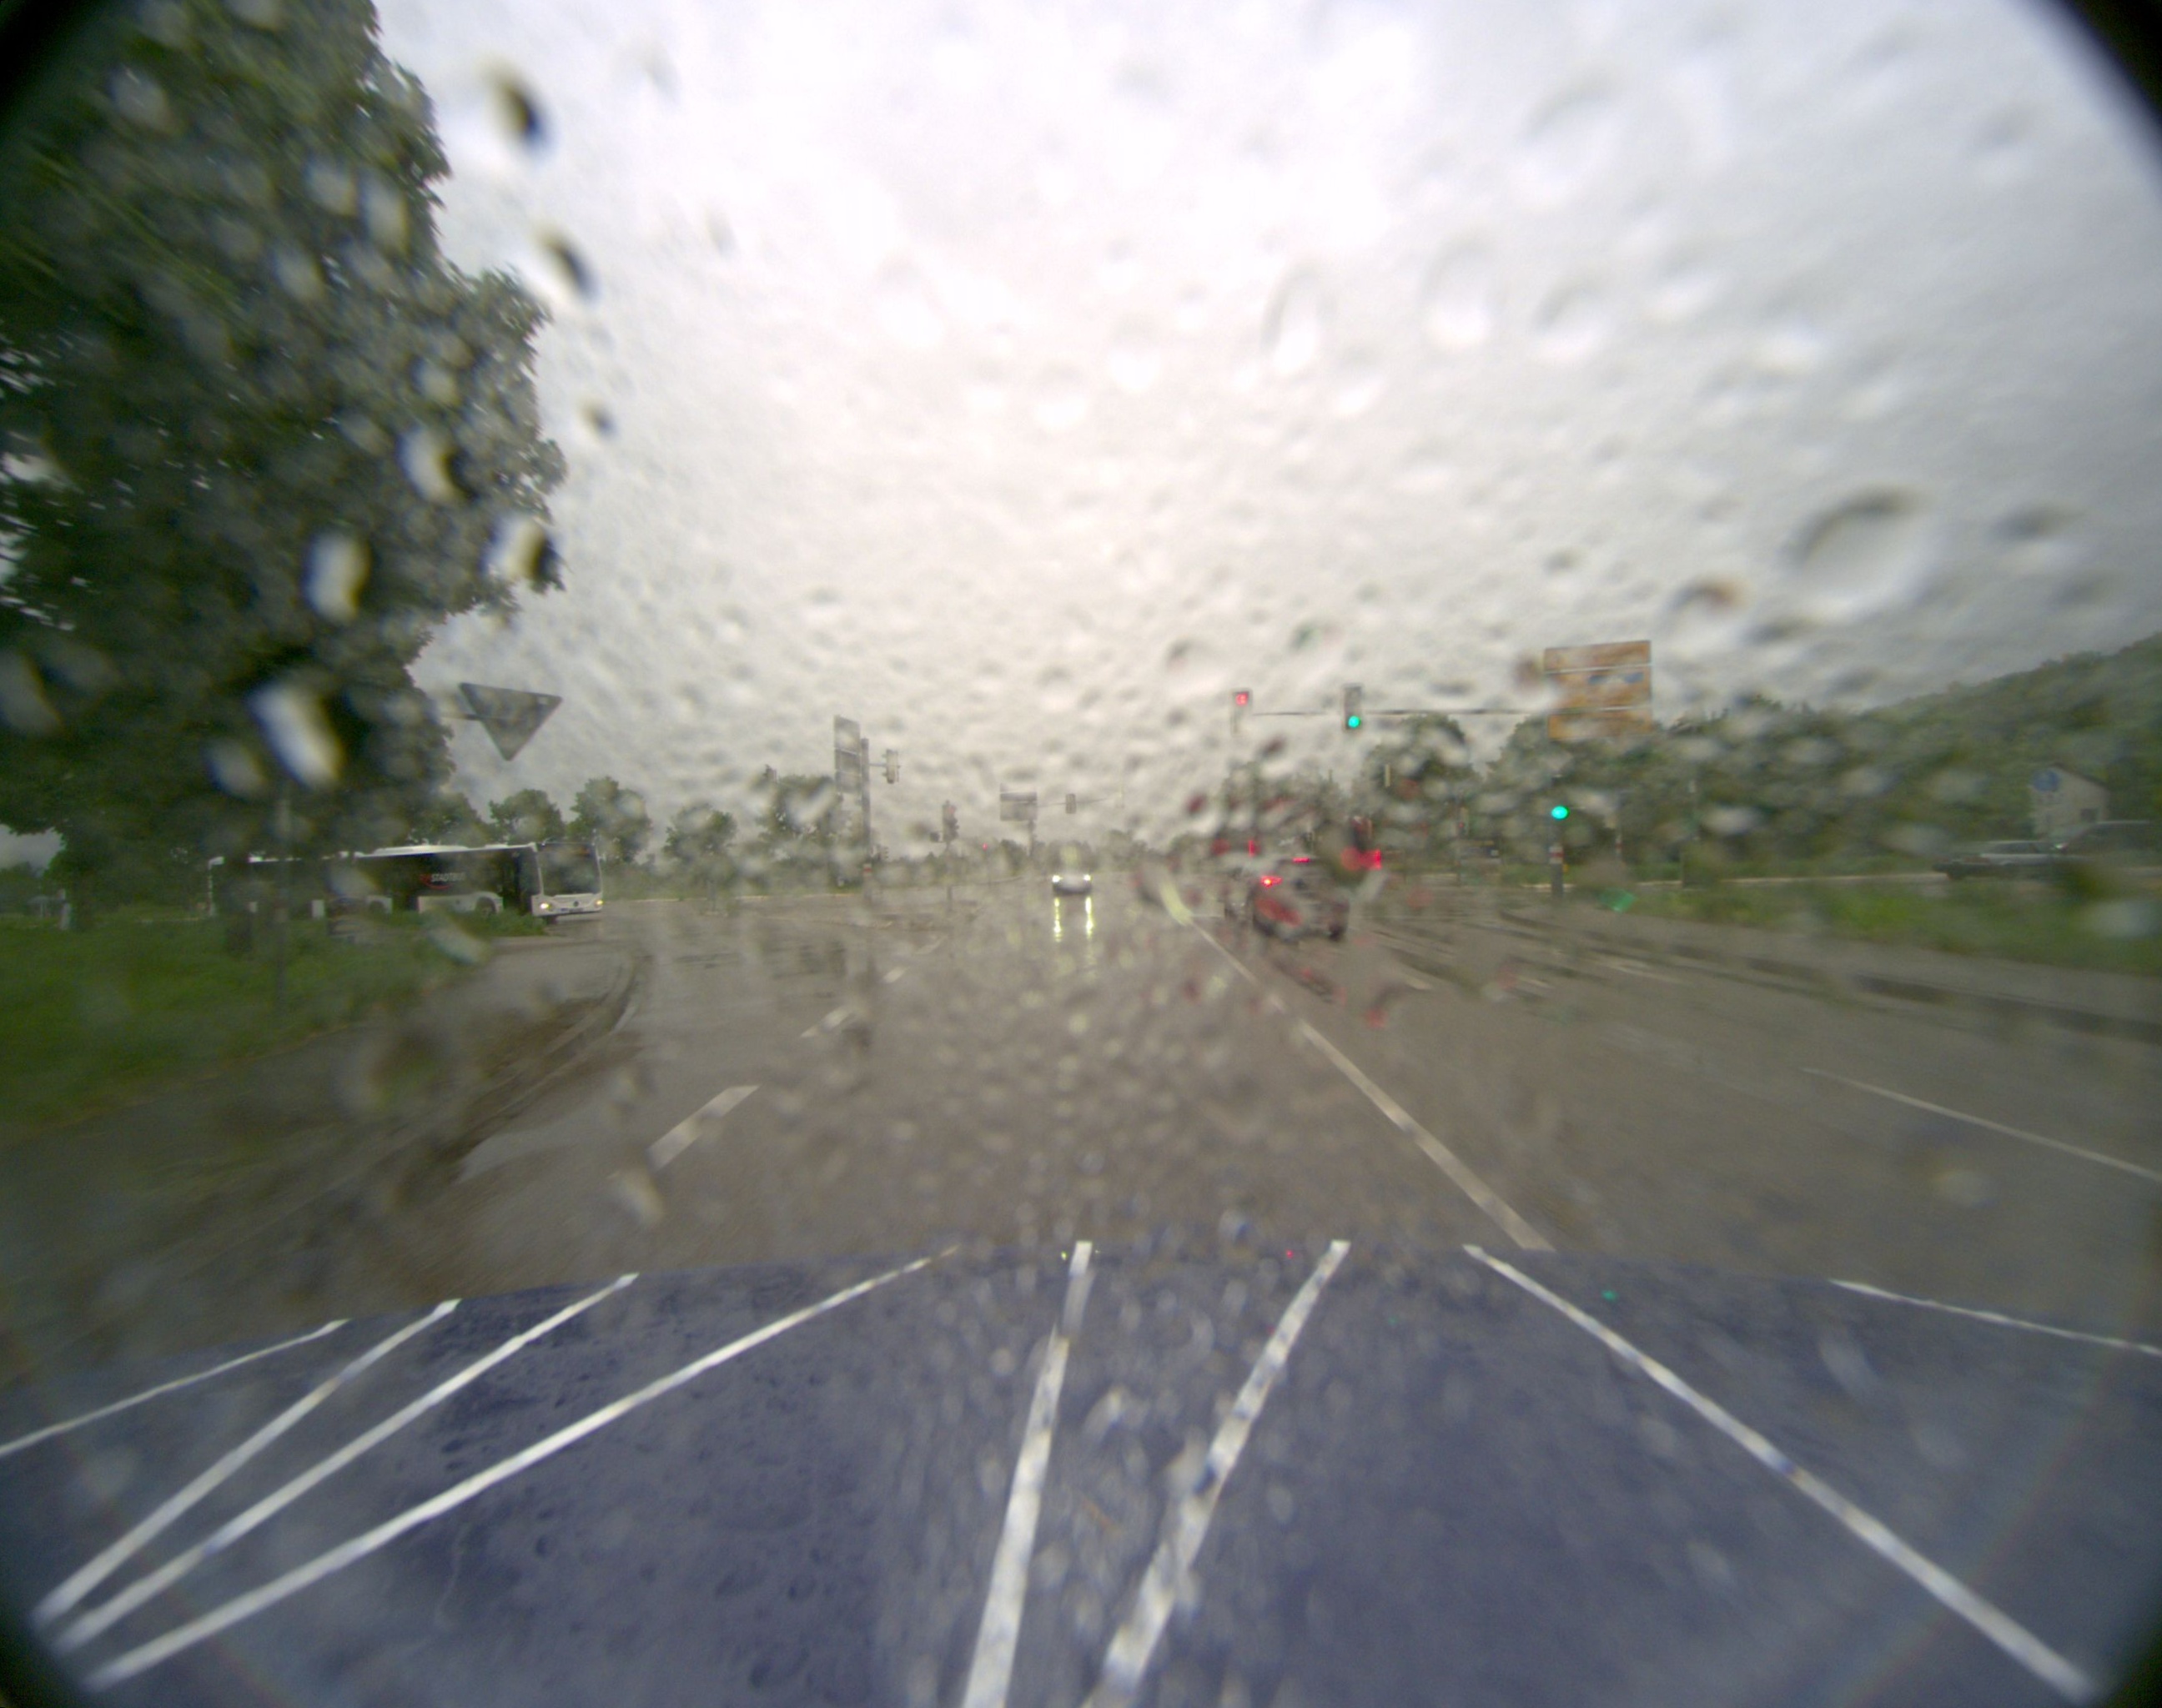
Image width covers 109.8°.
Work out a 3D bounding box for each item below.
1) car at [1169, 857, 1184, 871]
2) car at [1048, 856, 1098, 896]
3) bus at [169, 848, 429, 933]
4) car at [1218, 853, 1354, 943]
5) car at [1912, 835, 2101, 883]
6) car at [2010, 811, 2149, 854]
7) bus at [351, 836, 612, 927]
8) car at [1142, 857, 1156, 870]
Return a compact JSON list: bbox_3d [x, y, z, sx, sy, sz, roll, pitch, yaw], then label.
[{"bbox_3d":[11.622,1.209,92.445,1.616,1.510,3.656,-3,0,5],"label":"car"},{"bbox_3d":[-0.306,0.989,35.697,1.998,1.622,4.001,-3,0,4],"label":"car"},{"bbox_3d":[-32.757,1.512,31.875,9.977,3.059,2.681,-3,1,13],"label":"bus"},{"bbox_3d":[3.971,0.776,15.357,1.766,1.528,3.877,-1,0,2],"label":"car"},{"bbox_3d":[32.307,0.161,26.631,3.996,1.510,2.000,-2,1,4],"label":"car"},{"bbox_3d":[48.954,-1.027,37.318,4.355,1.867,1.957,-3,1,-2],"label":"car"},{"bbox_3d":[-23.039,1.079,29.145,9.974,3.059,2.682,-3,1,18],"label":"bus"},{"bbox_3d":[11.378,1.587,126.681,1.919,2.002,4.003,-3,1,12],"label":"car"}]
